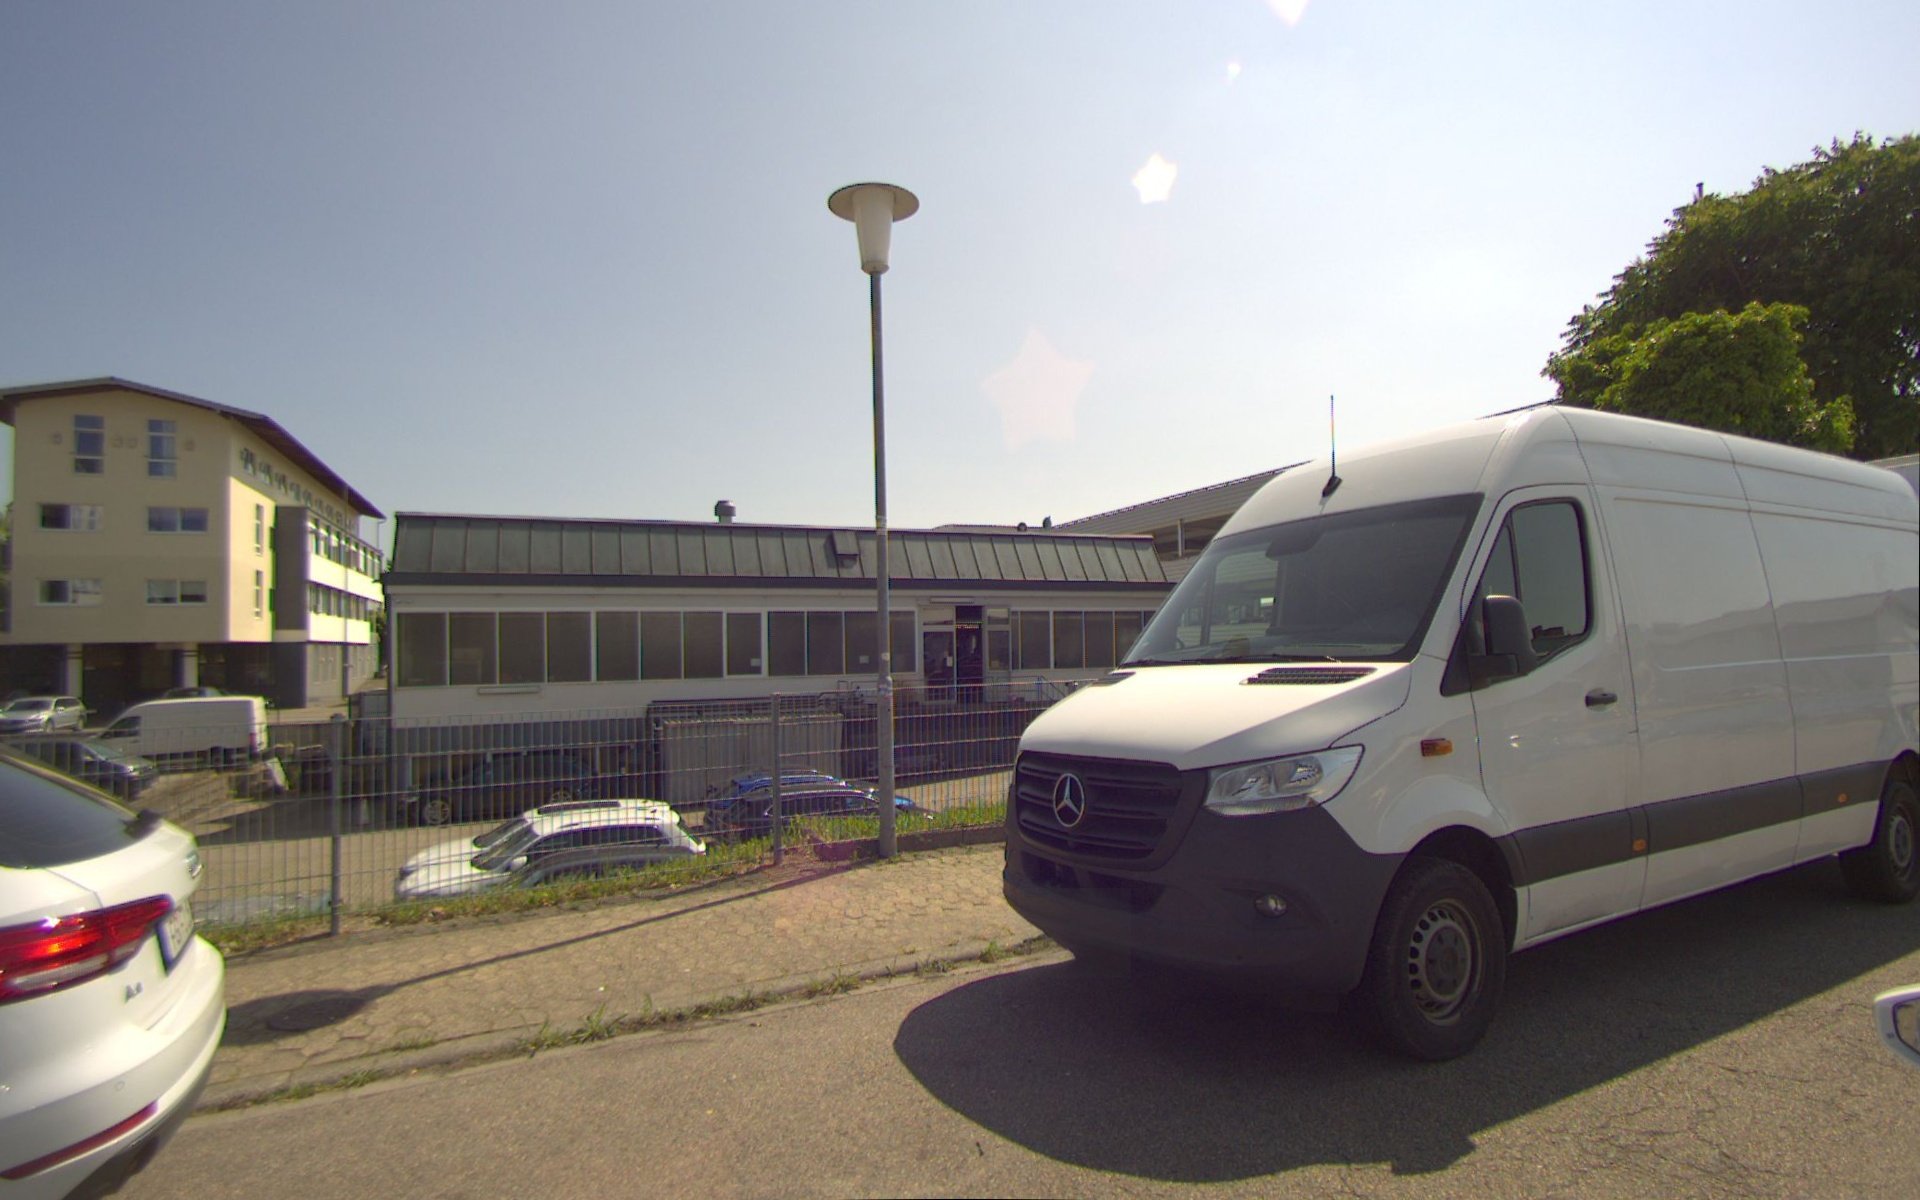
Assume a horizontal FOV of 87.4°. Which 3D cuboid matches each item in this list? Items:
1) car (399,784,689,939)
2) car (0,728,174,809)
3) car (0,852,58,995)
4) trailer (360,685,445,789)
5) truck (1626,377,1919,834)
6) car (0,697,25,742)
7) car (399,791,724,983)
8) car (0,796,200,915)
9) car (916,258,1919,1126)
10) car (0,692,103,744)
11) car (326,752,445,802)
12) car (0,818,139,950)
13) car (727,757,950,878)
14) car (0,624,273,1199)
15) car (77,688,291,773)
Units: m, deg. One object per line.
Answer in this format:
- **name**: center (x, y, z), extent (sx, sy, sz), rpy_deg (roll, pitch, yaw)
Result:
- **car**: center (-7.133, 4.359, 17.340), extent (4.366, 1.875, 1.910), rpy_deg (2, -3, -31)
- **car**: center (-26.884, 5.028, 30.102), extent (4.854, 2.047, 1.991), rpy_deg (-1, -4, -23)
- **car**: center (-13.783, 4.112, 12.080), extent (3.941, 1.461, 1.800), rpy_deg (0, -2, -22)
- **trailer**: center (-25.487, 6.109, 46.234), extent (2.717, 4.046, 6.846), rpy_deg (0, -2, -23)
- **truck**: center (9.848, 0.144, 9.924), extent (7.050, 3.410, 2.672), rpy_deg (1, -3, -32)
- **car**: center (-38.287, 4.668, 38.393), extent (2.084, 1.699, 4.581), rpy_deg (1, -3, -20)
- **car**: center (-5.957, 4.141, 15.134), extent (4.304, 1.955, 1.852), rpy_deg (2, -2, -31)
- **car**: center (-15.336, 4.249, 16.679), extent (3.941, 1.461, 1.800), rpy_deg (0, -2, -22)
- **car**: center (3.266, 0.390, 5.745), extent (6.840, 2.629, 2.158), rpy_deg (1, -4, -31)
- **car**: center (-36.026, 4.577, 39.472), extent (2.084, 1.699, 4.582), rpy_deg (1, -3, -20)
- **car**: center (-21.168, 6.510, 37.150), extent (3.545, 1.537, 1.783), rpy_deg (1, -5, -22)
- **car**: center (-14.662, 4.176, 14.493), extent (3.941, 1.461, 1.800), rpy_deg (0, -2, -22)
- **car**: center (-2.410, 4.198, 19.892), extent (3.949, 1.639, 1.986), rpy_deg (1, 1, -27)
- **car**: center (-3.792, 0.845, 1.605), extent (4.354, 1.563, 1.705), rpy_deg (2, -5, -33)
- **car**: center (-29.094, 4.843, 37.975), extent (5.847, 2.913, 2.432), rpy_deg (1, -4, -22)
